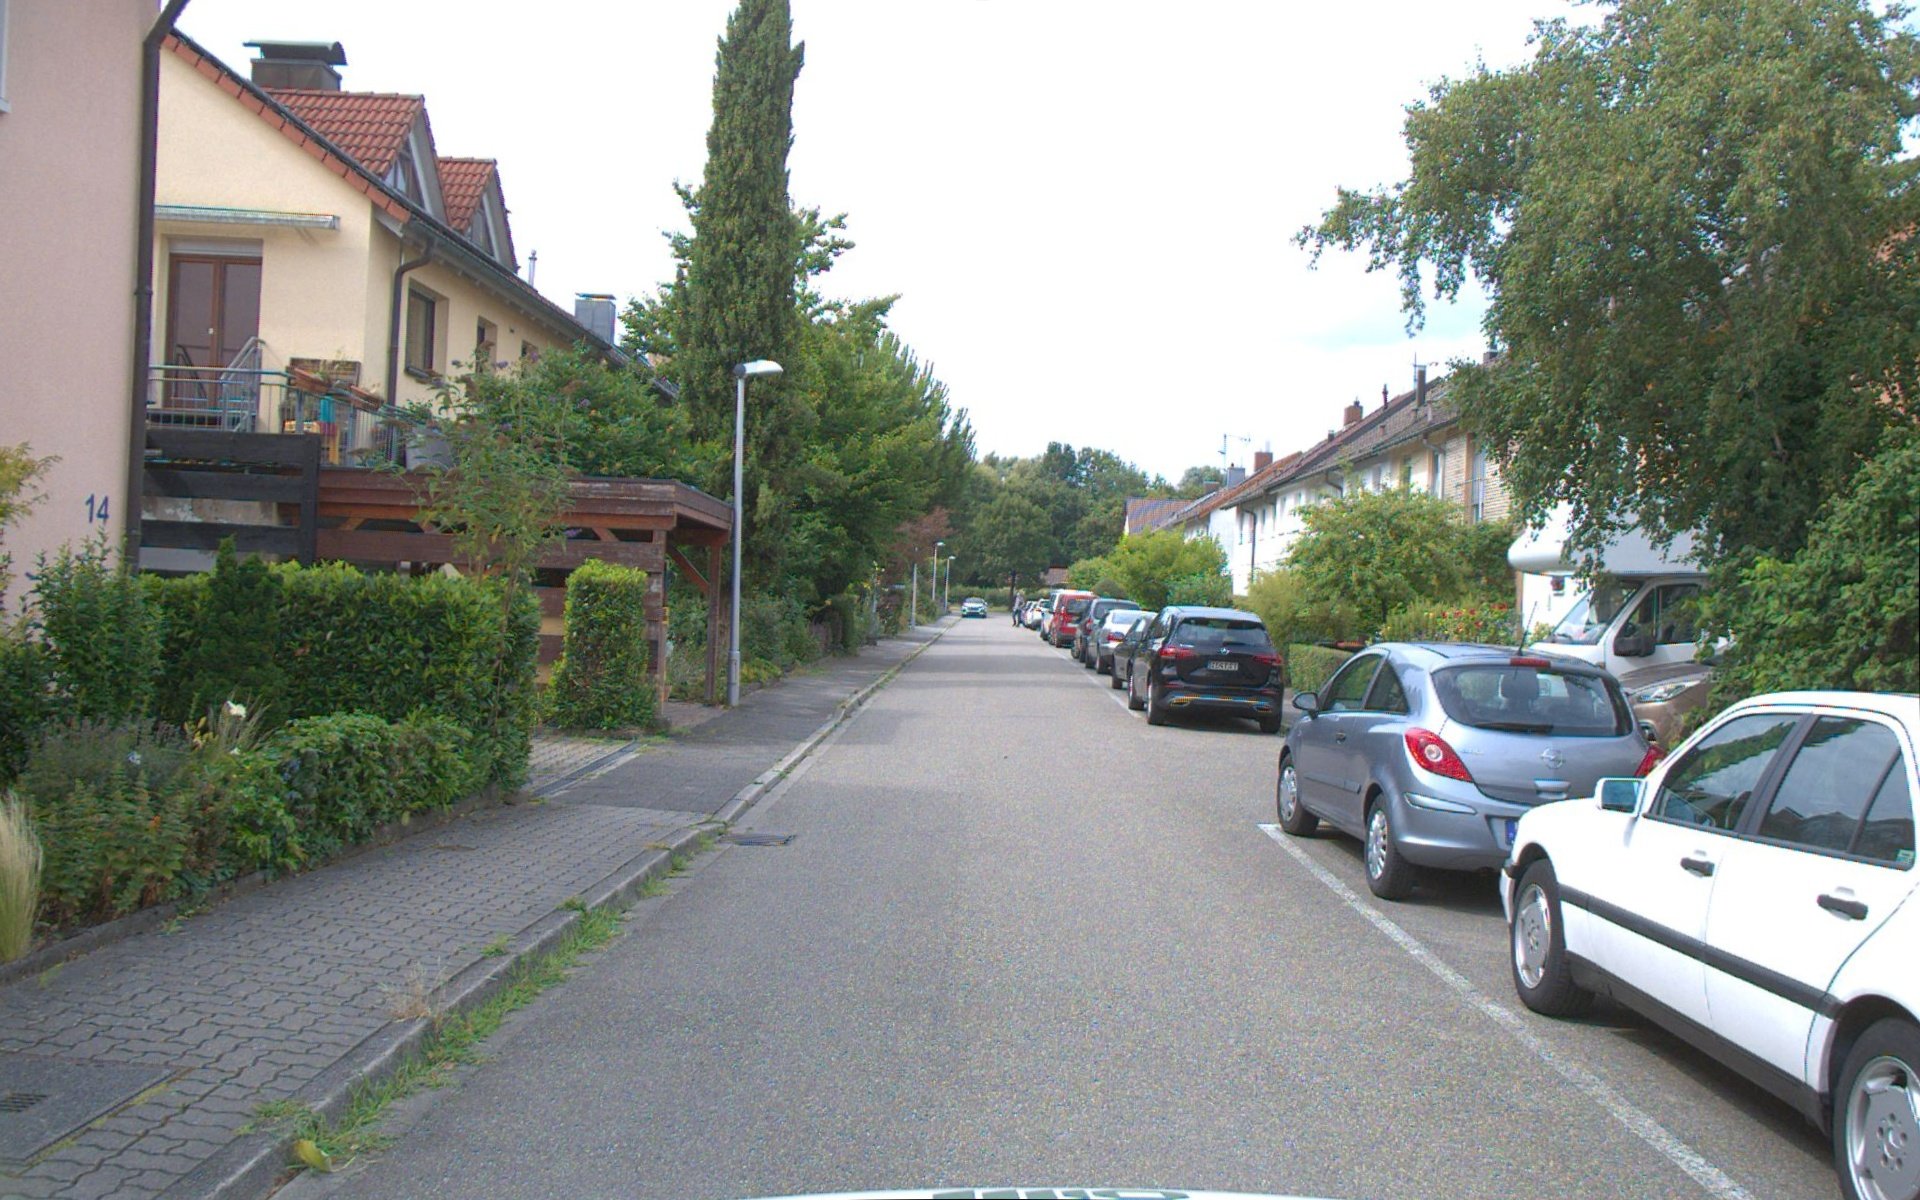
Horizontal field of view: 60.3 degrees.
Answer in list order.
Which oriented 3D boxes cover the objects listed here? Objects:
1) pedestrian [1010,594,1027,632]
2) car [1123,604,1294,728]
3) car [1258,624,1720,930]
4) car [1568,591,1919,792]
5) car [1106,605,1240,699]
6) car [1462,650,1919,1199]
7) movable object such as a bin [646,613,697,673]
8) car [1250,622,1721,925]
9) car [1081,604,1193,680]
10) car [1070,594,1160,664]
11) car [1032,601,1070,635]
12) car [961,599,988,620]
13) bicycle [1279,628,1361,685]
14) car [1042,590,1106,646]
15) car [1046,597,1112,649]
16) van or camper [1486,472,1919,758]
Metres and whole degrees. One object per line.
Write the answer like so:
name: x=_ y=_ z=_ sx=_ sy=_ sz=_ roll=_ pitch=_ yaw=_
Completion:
pedestrian: x=3.222 y=0.734 z=91.183 sx=0.893 sy=2.049 sz=0.951 roll=2 pitch=0 yaw=1
car: x=3.391 y=0.844 z=23.366 sx=1.713 sy=1.492 sz=4.648 roll=2 pitch=0 yaw=1
car: x=3.213 y=0.980 z=10.967 sx=1.706 sy=1.496 sz=4.217 roll=2 pitch=0 yaw=0
car: x=8.508 y=0.874 z=16.124 sx=4.436 sy=1.737 sz=1.900 roll=2 pitch=0 yaw=4
car: x=3.650 y=0.855 z=29.022 sx=1.698 sy=1.453 sz=4.125 roll=2 pitch=0 yaw=-1
car: x=3.207 y=0.966 z=5.448 sx=1.658 sy=1.388 sz=4.698 roll=2 pitch=0 yaw=0
movable object such as a bin: x=-4.829 y=0.713 z=27.734 sx=0.697 sy=0.973 sz=0.751 roll=2 pitch=0 yaw=1
car: x=3.213 y=0.968 z=11.044 sx=1.669 sy=1.467 sz=4.219 roll=3 pitch=0 yaw=-1
car: x=3.865 y=0.888 z=36.887 sx=1.830 sy=1.431 sz=4.766 roll=4 pitch=0 yaw=-1
car: x=3.992 y=0.713 z=43.327 sx=1.830 sy=1.682 sz=4.463 roll=2 pitch=0 yaw=-1
car: x=4.481 y=0.865 z=82.185 sx=1.678 sy=1.570 sz=3.974 roll=4 pitch=0 yaw=1
car: x=1.144 y=0.722 z=127.027 sx=1.894 sy=1.583 sz=4.635 roll=1 pitch=0 yaw=2
bicycle: x=7.038 y=1.097 z=32.328 sx=1.506 sy=1.041 sz=0.376 roll=2 pitch=0 yaw=6
car: x=4.259 y=0.664 z=62.498 sx=1.979 sy=1.981 sz=4.746 roll=1 pitch=0 yaw=-1
car: x=4.096 y=0.777 z=57.500 sx=1.774 sy=1.679 sz=4.408 roll=1 pitch=0 yaw=-3
van or camper: x=9.058 y=0.168 z=18.364 sx=5.676 sy=2.867 sz=2.538 roll=2 pitch=0 yaw=5
